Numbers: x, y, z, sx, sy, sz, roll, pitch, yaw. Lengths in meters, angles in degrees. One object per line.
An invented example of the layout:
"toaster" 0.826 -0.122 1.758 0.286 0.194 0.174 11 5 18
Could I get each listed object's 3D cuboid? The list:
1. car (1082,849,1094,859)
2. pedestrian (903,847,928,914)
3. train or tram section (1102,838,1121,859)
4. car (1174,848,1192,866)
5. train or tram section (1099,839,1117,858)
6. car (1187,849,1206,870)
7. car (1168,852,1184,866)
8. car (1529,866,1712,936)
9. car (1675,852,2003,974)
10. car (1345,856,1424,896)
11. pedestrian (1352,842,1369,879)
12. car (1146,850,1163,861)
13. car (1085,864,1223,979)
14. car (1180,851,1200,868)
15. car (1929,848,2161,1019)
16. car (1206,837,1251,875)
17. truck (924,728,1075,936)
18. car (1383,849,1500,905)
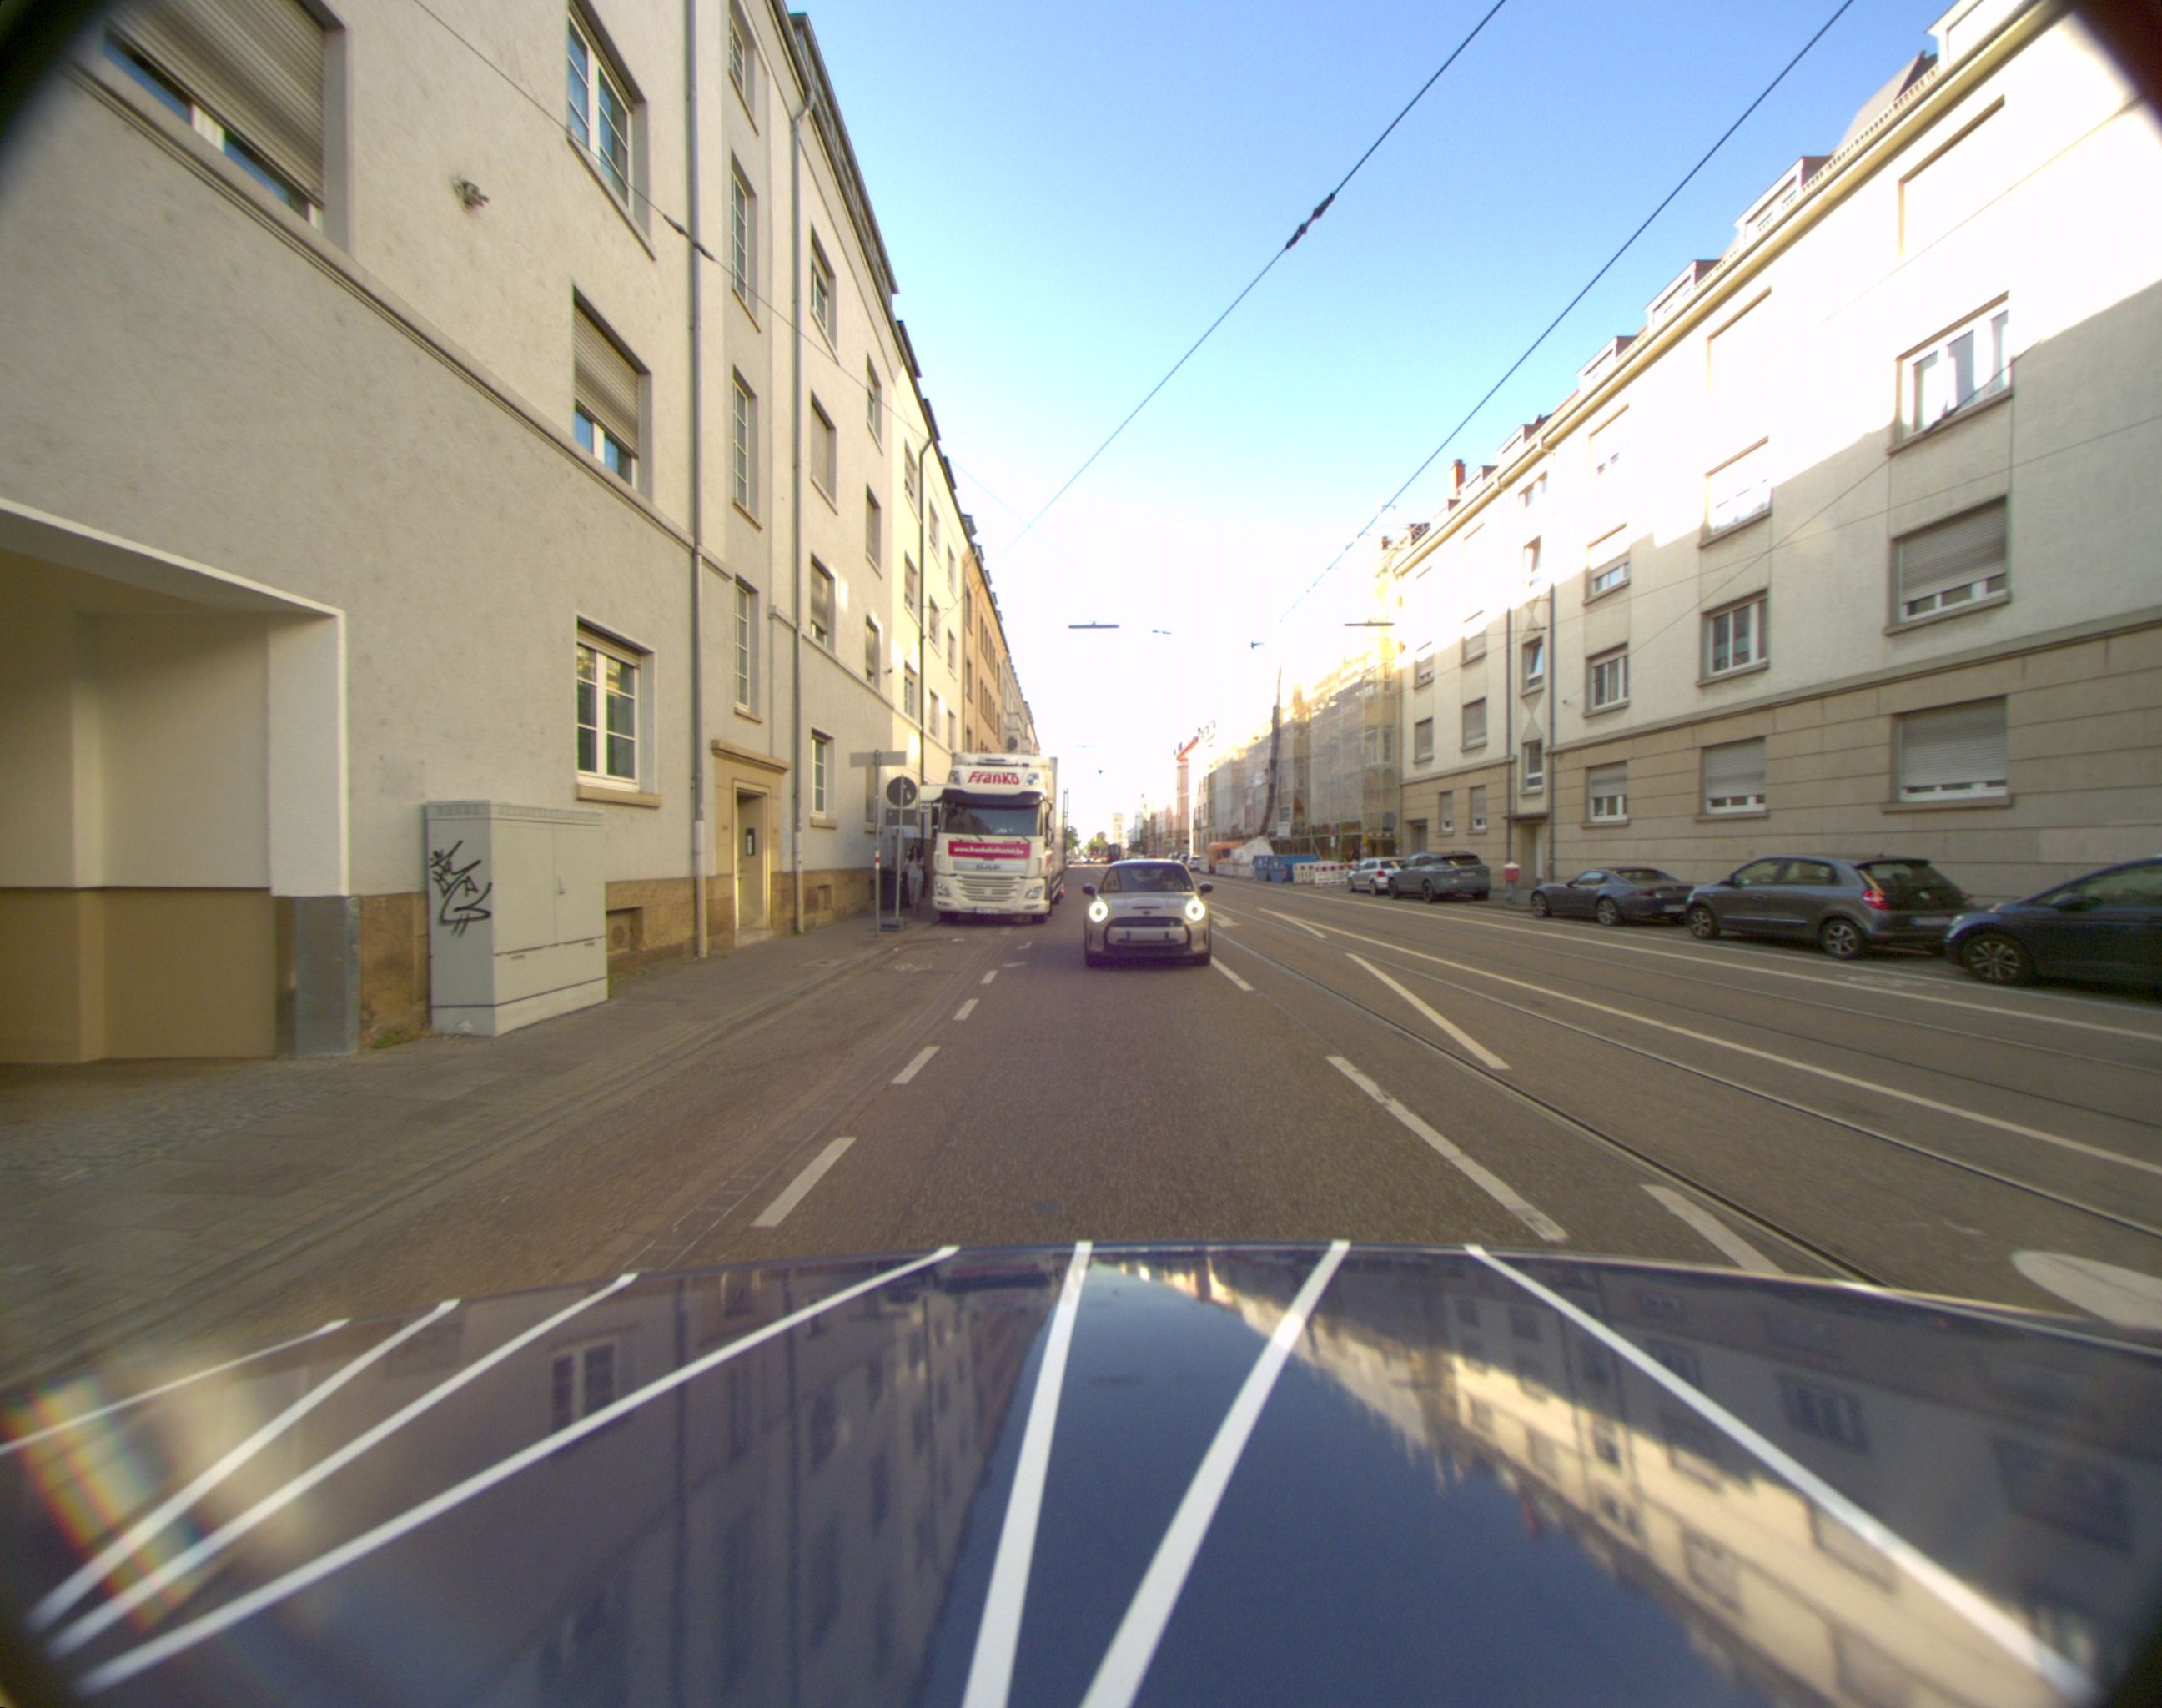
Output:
"car" 1.374 0.021 150.711 1.999 1.871 4.270 -2 1 -1
"pedestrian" -4.050 0.650 18.625 0.475 1.620 0.467 0 1 2
"train or tram section" 5.484 -0.987 137.388 2.867 3.542 13.040 0 1 0
"car" 11.698 0.354 87.287 1.570 1.945 4.184 -2 1 1
"train or tram section" 5.245 -1.135 150.543 2.867 3.542 13.332 0 1 0
"car" 11.376 0.546 74.841 1.657 1.911 3.766 -2 1 7
"car" 11.577 0.592 92.886 1.532 1.518 3.600 -2 1 1
"car" 11.743 0.957 16.833 1.476 1.212 3.523 -3 1 -1
"car" 11.798 0.810 12.210 1.643 1.549 3.595 -3 1 0
"car" 11.725 0.812 29.606 1.565 1.372 3.507 -3 1 -1
"pedestrian" 14.082 0.312 38.336 0.519 1.861 0.763 -2 1 0
"car" 11.862 0.221 123.384 2.231 1.518 4.960 -2 1 1
"car" 0.981 0.882 11.466 1.727 1.416 3.818 0 0 2
"car" 11.529 0.574 80.871 1.570 1.674 3.936 -2 1 1
"car" 11.719 0.804 7.479 1.819 1.624 4.324 -3 1 -1
"car" 11.011 0.113 57.291 2.215 2.681 5.872 -2 1 0
"truck" -1.704 -0.556 21.380 2.700 4.214 11.776 0 1 1
"car" 11.766 0.693 25.120 1.751 1.600 4.158 -3 1 -1
